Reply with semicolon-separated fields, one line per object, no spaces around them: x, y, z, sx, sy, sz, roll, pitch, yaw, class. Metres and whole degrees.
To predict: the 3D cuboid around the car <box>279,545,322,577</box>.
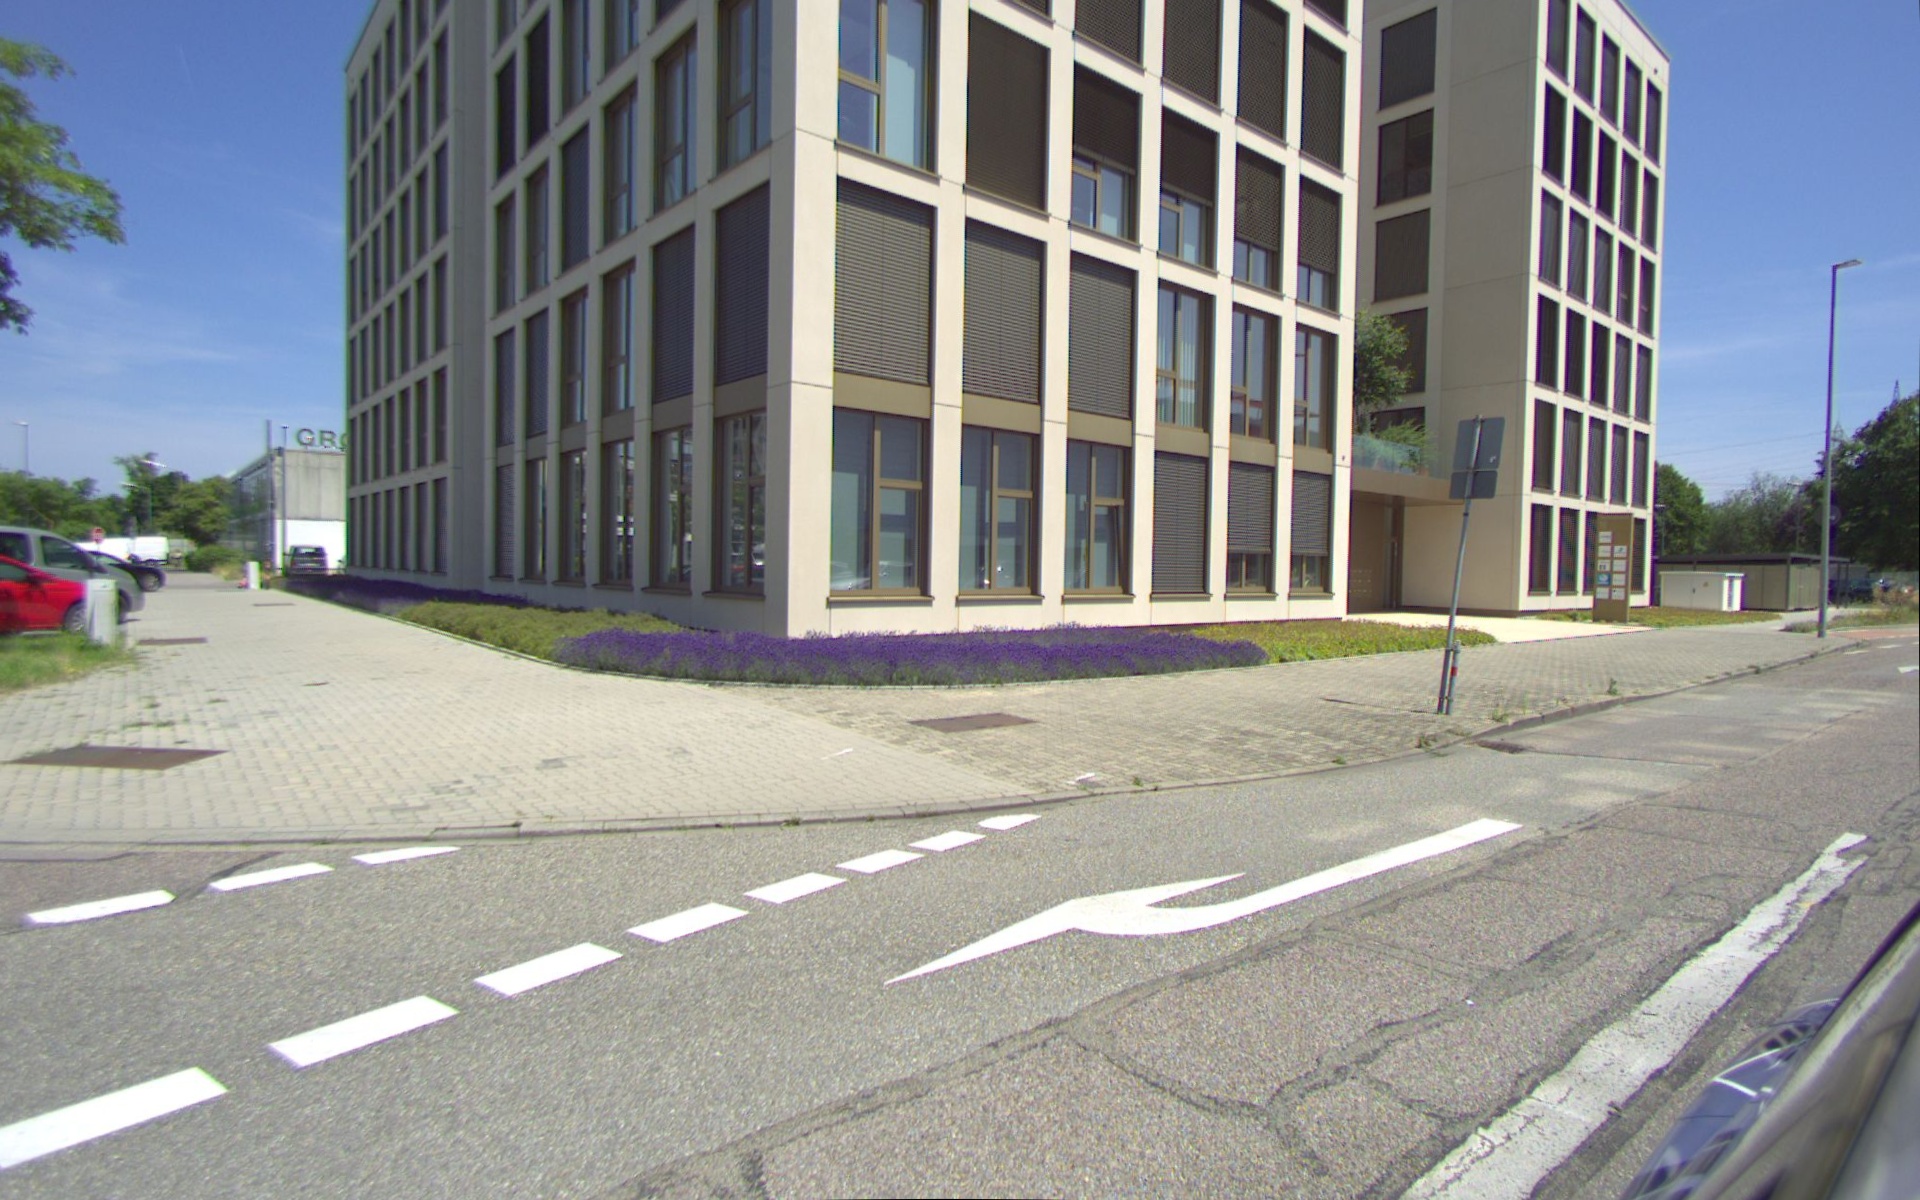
-38.107;-2.230;58.441;1.763;1.749;3.997;0;0;-38;car

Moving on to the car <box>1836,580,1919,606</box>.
55.236;-0.440;60.781;3.810;1.411;1.716;2;2;36;car

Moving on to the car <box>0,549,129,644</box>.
-15.459;-0.059;15.593;1.672;1.449;3.990;1;3;10;car

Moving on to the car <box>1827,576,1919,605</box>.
53.642;-0.562;59.559;3.810;1.571;1.716;2;2;36;car

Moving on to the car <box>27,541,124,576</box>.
-55.160;-2.550;63.225;4.495;2.039;1.997;-1;0;-40;car

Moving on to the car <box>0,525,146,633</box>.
-17.900;-0.399;18.457;1.886;1.910;4.927;1;1;5;car

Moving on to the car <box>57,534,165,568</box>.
-68.036;-3.884;81.305;6.573;2.552;2.217;-1;0;-38;car

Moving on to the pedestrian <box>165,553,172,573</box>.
-60.907;-2.860;77.864;0.397;1.579;0.549;0;2;-39;pedestrian
